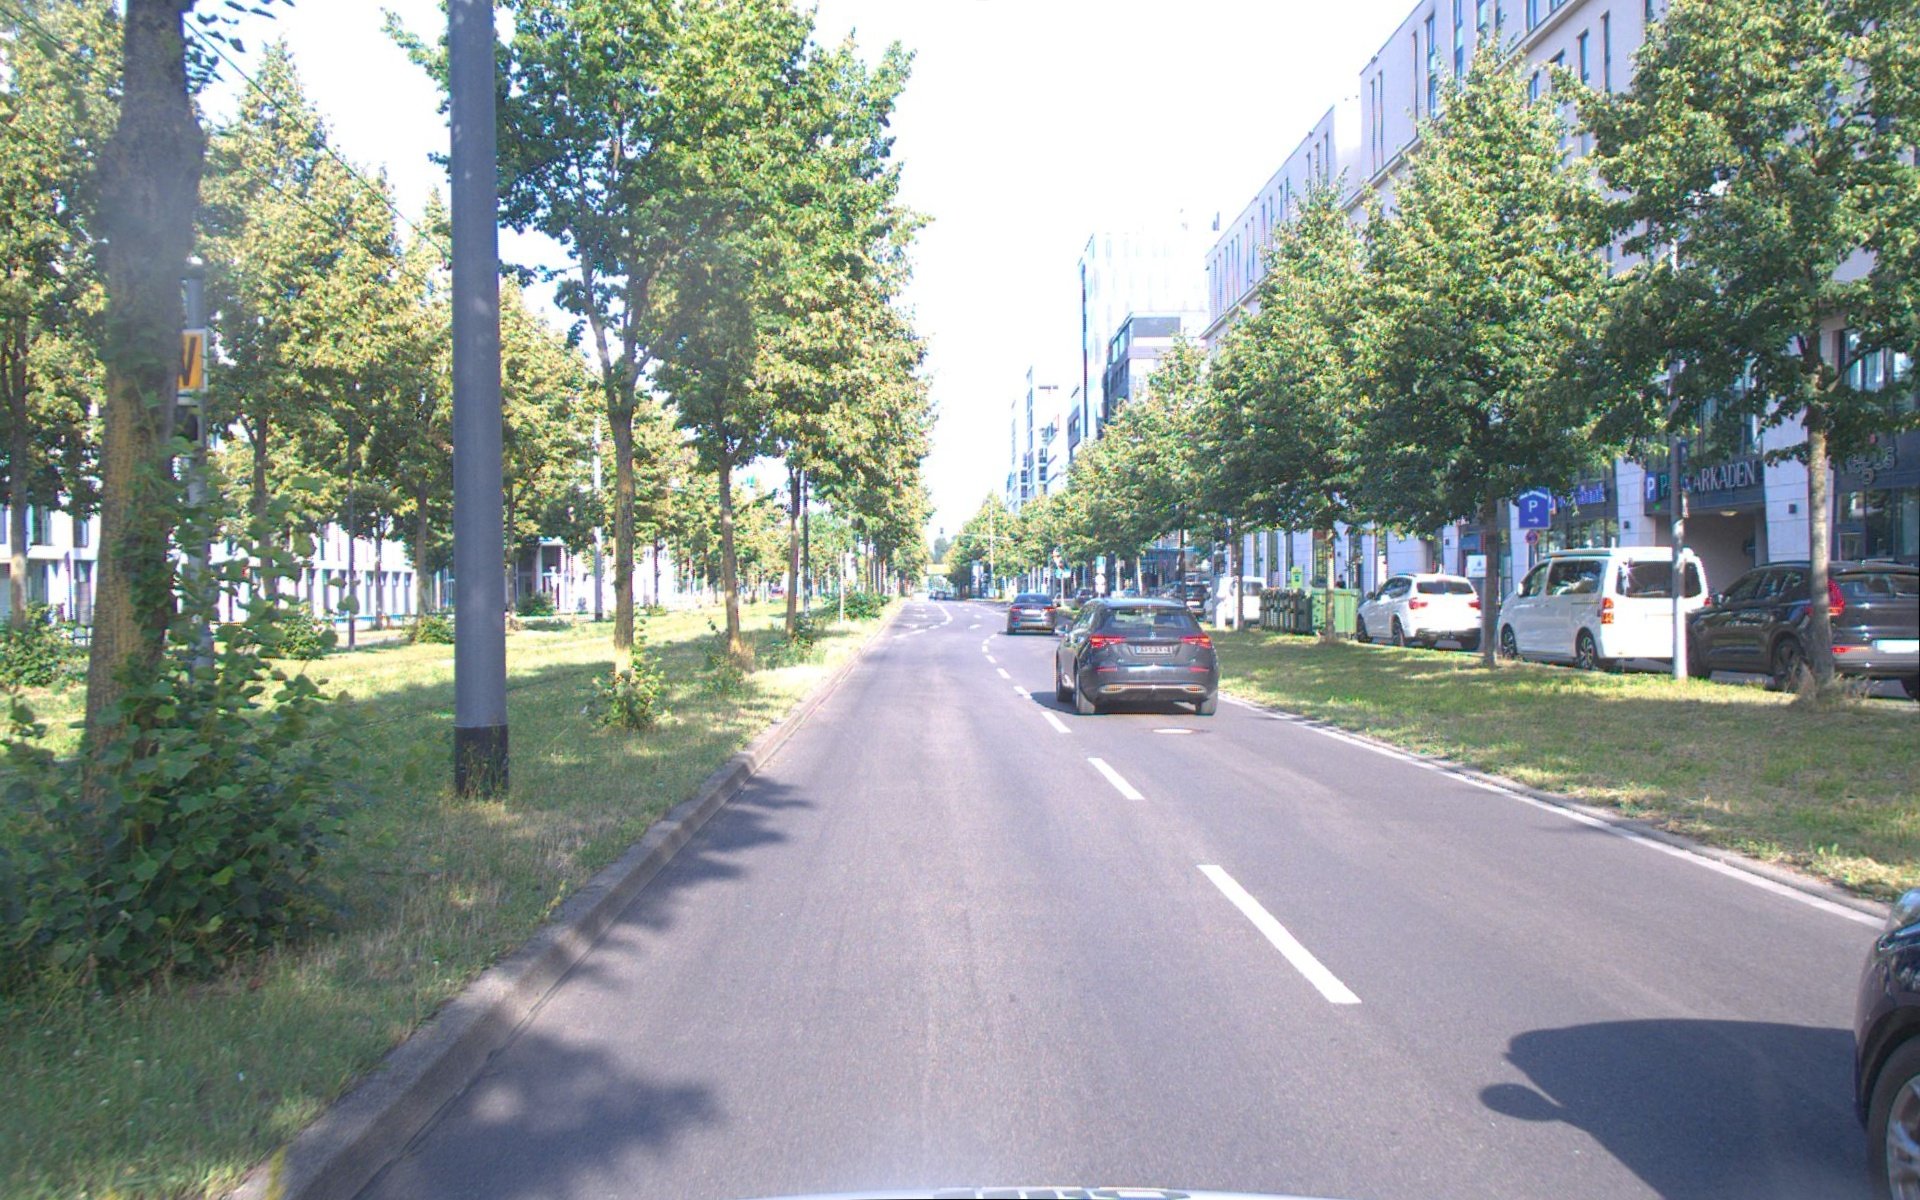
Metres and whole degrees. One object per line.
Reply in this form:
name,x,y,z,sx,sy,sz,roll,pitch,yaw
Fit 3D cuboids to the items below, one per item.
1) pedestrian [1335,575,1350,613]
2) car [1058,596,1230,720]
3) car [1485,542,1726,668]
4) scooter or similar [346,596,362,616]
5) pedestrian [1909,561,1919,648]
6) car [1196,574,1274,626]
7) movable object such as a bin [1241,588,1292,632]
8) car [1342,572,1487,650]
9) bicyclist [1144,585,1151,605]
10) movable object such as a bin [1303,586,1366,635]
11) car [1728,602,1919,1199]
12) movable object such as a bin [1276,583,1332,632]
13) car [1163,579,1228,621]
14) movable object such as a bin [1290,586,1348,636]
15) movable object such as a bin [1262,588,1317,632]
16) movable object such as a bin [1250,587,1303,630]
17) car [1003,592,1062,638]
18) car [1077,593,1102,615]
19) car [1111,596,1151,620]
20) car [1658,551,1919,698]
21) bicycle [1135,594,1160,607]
pedestrian,18.207,-0.263,78.767,0.526,1.793,0.646,1,-1,-1
car,2.304,0.701,21.661,1.738,1.449,3.960,1,0,-1
car,10.678,0.088,27.815,1.801,1.909,5.027,1,0,-4
scooter or similar,-37.957,0.360,103.584,0.328,1.247,1.300,1,0,12
pedestrian,17.872,0.084,30.391,0.506,1.601,0.536,1,-1,-21
car,9.785,0.005,59.085,1.791,1.741,4.292,1,0,-4
movable object such as a bin,9.369,0.317,50.604,1.252,1.314,1.177,1,0,-5
car,10.409,0.233,38.260,1.696,1.658,4.846,-1,0,-4
bicyclist,16.049,-0.435,141.564,0.563,1.737,0.540,1,-1,-5
movable object such as a bin,9.922,0.271,43.788,1.371,1.258,1.334,1,0,25
car,2.859,0.737,2.449,1.528,1.449,3.906,1,0,-2
movable object such as a bin,9.689,0.217,46.593,1.252,1.341,1.190,1,0,-5
car,10.152,-0.040,71.606,1.859,1.738,4.675,1,1,-3
movable object such as a bin,9.809,0.298,45.253,1.252,1.325,1.190,1,0,-5
movable object such as a bin,9.545,0.283,47.948,1.252,1.258,1.190,1,0,-5
movable object such as a bin,9.437,0.263,49.350,1.252,1.258,1.190,1,0,-5
car,2.505,0.514,58.048,1.822,1.551,3.784,1,0,-1
car,8.841,0.280,113.230,1.573,1.394,4.159,1,0,3
car,9.535,0.429,92.254,1.674,1.264,3.903,1,0,-2
car,10.764,0.296,21.278,1.693,1.679,4.339,1,0,-1
bicycle,16.063,0.032,141.570,2.092,1.030,0.571,1,0,-6
